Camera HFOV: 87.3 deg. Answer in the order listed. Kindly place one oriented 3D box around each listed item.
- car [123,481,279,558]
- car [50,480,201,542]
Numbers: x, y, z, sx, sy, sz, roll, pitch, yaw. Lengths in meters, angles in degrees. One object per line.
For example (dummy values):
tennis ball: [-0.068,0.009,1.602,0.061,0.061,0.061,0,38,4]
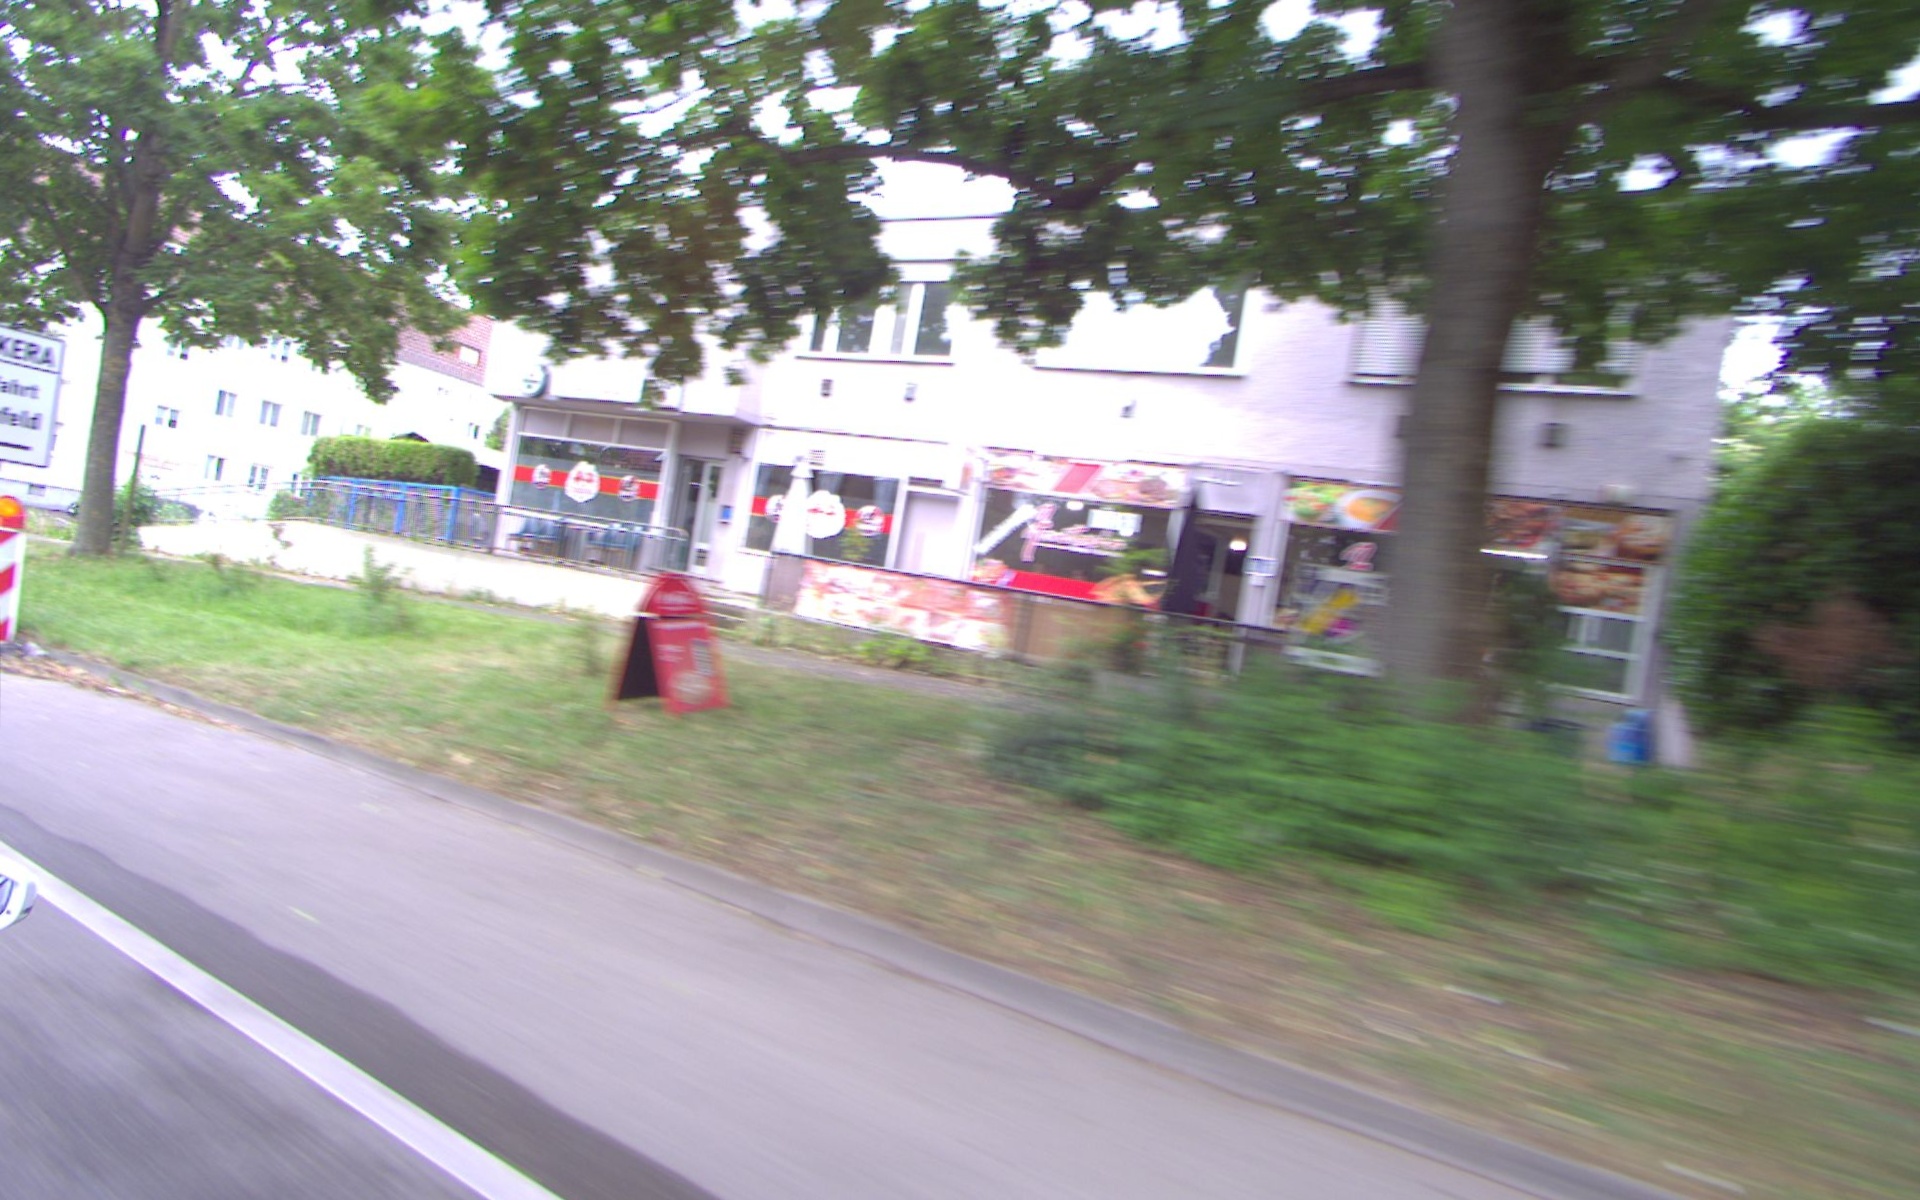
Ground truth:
car: [-21.756,-2.311,28.834,3.929,1.489,1.876,9,-1,26]
car: [-32.315,-3.426,39.068,1.967,1.554,3.995,7,-3,33]
